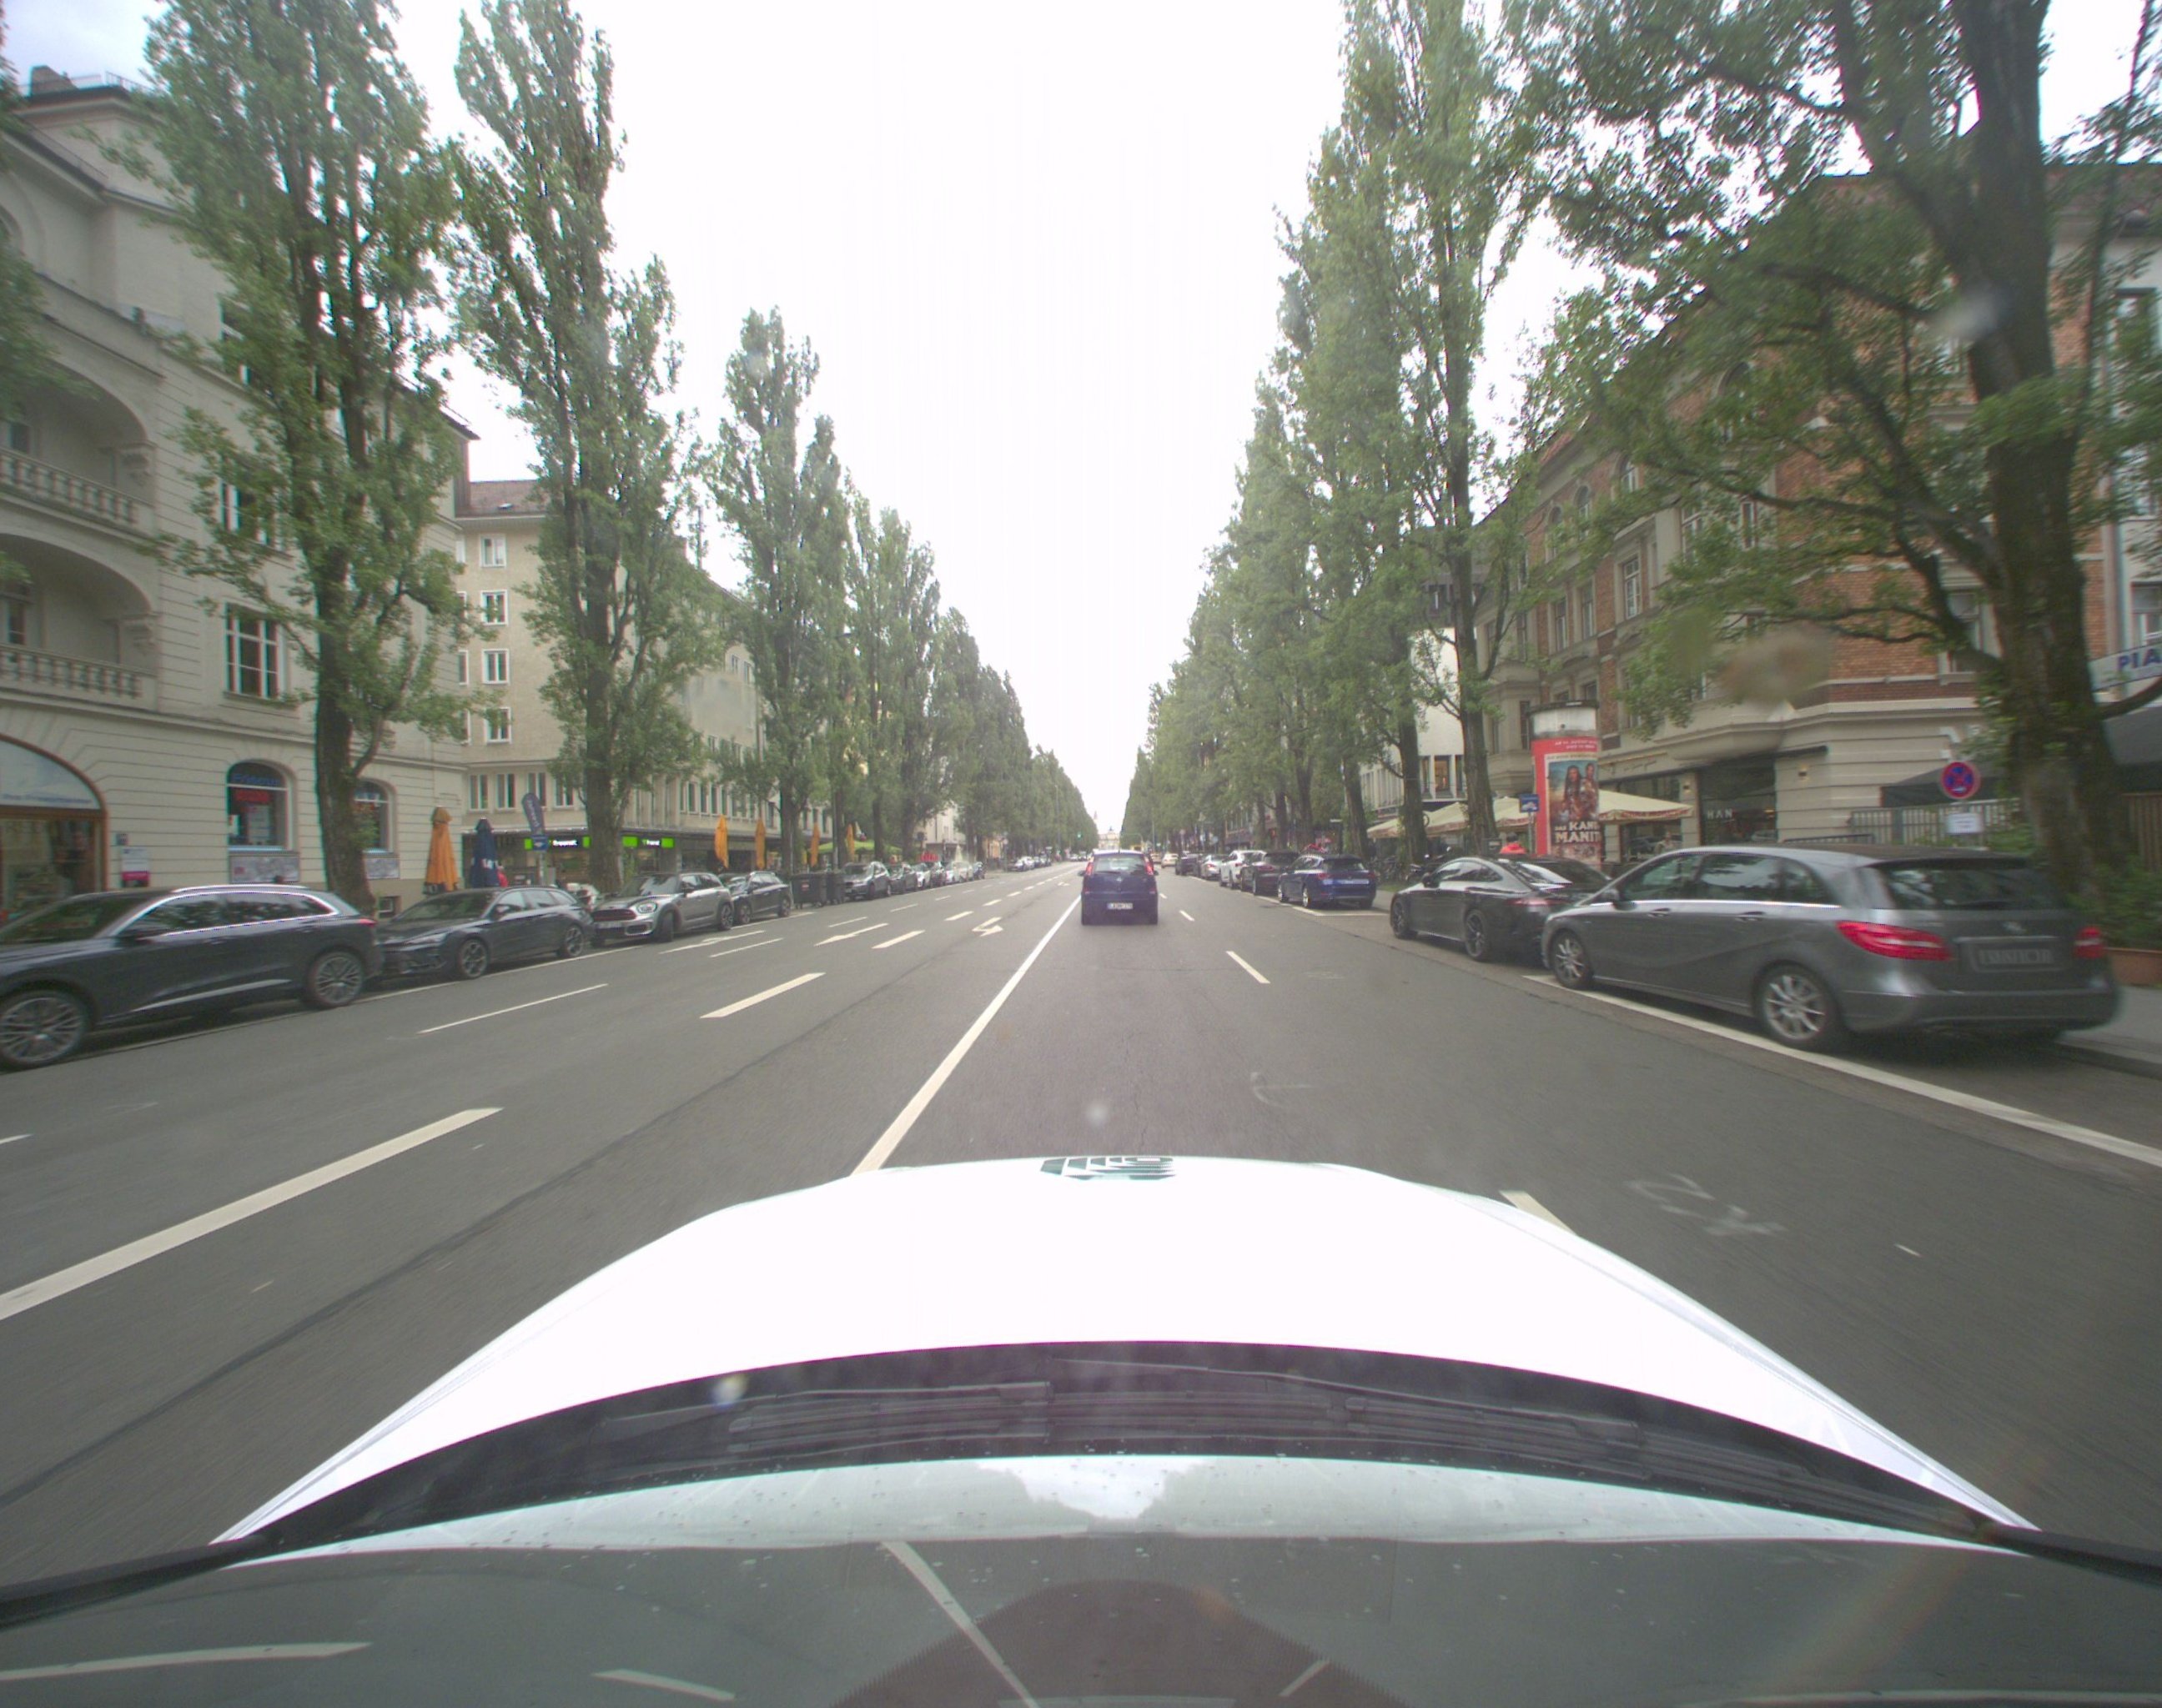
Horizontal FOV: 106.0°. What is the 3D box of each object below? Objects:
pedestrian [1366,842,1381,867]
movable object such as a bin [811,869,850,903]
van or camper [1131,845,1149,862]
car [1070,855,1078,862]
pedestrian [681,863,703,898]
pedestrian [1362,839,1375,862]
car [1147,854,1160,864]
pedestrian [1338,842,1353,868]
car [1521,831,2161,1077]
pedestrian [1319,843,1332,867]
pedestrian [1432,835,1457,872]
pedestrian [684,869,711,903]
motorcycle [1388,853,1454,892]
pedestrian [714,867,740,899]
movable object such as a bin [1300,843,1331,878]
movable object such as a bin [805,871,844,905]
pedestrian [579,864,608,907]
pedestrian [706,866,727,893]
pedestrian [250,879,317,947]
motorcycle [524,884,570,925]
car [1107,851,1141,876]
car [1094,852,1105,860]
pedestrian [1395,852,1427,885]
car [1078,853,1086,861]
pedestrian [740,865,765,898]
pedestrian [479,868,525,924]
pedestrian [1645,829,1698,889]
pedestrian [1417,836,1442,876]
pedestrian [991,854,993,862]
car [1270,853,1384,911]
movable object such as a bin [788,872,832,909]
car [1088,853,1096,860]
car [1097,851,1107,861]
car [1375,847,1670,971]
[{"bbox_3d":[19.112,0.015,53.221,0.652,1.626,0.704,-2,0,-1],"label":"pedestrian"},{"bbox_3d":[-10.309,1.324,33.535,1.309,1.317,0.819,-2,0,0],"label":"movable object such as a bin"},{"bbox_3d":[9.186,-0.057,127.472,2.467,2.581,5.848,-2,0,2],"label":"van or camper"},{"bbox_3d":[-1.723,1.200,210.499,1.954,1.549,3.780,-2,0,1],"label":"car"},{"bbox_3d":[-19.437,1.302,40.661,0.623,1.721,0.827,-2,0,1],"label":"pedestrian"},{"bbox_3d":[20.175,-0.231,57.152,0.731,1.626,0.767,-1,-1,7],"label":"pedestrian"},{"bbox_3d":[10.370,0.640,116.652,1.663,1.352,4.107,-2,0,2],"label":"car"},{"bbox_3d":[16.869,0.094,51.965,0.652,1.626,0.704,-2,0,-1],"label":"pedestrian"},{"bbox_3d":[6.059,0.642,7.342,1.811,1.506,4.230,-2,0,-1],"label":"car"},{"bbox_3d":[18.109,0.104,60.223,0.724,1.751,0.860,-1,-1,2],"label":"pedestrian"},{"bbox_3d":[17.064,-0.024,38.227,0.726,1.677,0.932,-2,0,2],"label":"pedestrian"},{"bbox_3d":[-20.741,1.721,44.038,0.848,1.744,1.149,-1,0,2],"label":"pedestrian"},{"bbox_3d":[11.013,0.577,26.389,1.826,1.179,0.695,-2,0,-4],"label":"motorcycle"},{"bbox_3d":[-19.885,1.619,45.753,0.848,1.744,1.149,-2,0,2],"label":"pedestrian"},{"bbox_3d":[11.753,0.334,40.884,1.030,1.703,1.586,-2,0,-2],"label":"movable object such as a bin"},{"bbox_3d":[-10.283,1.355,32.693,1.255,1.317,0.825,-2,0,0],"label":"movable object such as a bin"},{"bbox_3d":[-19.933,1.269,33.313,0.623,1.721,0.827,-2,0,1],"label":"pedestrian"},{"bbox_3d":[-18.560,1.299,41.473,0.623,1.325,0.827,-2,0,1],"label":"pedestrian"},{"bbox_3d":[-18.776,1.374,19.194,0.765,1.537,0.805,-1,-1,1],"label":"pedestrian"},{"bbox_3d":[-16.118,1.493,24.628,0.476,1.139,1.807,-2,-1,-11],"label":"motorcycle"},{"bbox_3d":[2.714,0.568,52.002,1.986,1.497,4.001,-2,0,1],"label":"car"},{"bbox_3d":[3.470,0.399,150.136,1.954,1.399,3.780,-2,0,1],"label":"car"},{"bbox_3d":[13.182,0.589,32.566,0.925,1.267,0.731,-2,0,1],"label":"pedestrian"},{"bbox_3d":[0.365,0.758,204.183,1.828,1.739,3.780,-2,0,1],"label":"car"},{"bbox_3d":[-18.335,1.536,45.513,0.848,1.744,1.149,-2,0,2],"label":"pedestrian"},{"bbox_3d":[-18.021,1.294,25.346,0.731,1.673,0.953,-1,-1,2],"label":"pedestrian"},{"bbox_3d":[16.365,0.126,22.600,0.726,1.609,0.991,-2,0,2],"label":"pedestrian"},{"bbox_3d":[16.338,0.091,38.195,0.726,1.802,0.932,-2,0,2],"label":"pedestrian"},{"bbox_3d":[-13.614,0.606,124.678,0.287,1.090,0.259,-2,0,7],"label":"pedestrian"},{"bbox_3d":[6.692,0.708,22.676,1.745,1.405,4.462,-2,0,-1],"label":"car"},{"bbox_3d":[-10.189,1.362,30.628,1.272,1.310,0.902,-2,0,2],"label":"movable object such as a bin"},{"bbox_3d":[2.741,0.669,198.552,1.828,1.677,3.780,-2,0,1],"label":"car"},{"bbox_3d":[4.072,0.394,158.375,1.828,1.761,3.780,-2,0,1],"label":"car"},{"bbox_3d":[6.214,0.667,12.264,1.872,1.432,4.805,-2,0,1],"label":"car"}]
